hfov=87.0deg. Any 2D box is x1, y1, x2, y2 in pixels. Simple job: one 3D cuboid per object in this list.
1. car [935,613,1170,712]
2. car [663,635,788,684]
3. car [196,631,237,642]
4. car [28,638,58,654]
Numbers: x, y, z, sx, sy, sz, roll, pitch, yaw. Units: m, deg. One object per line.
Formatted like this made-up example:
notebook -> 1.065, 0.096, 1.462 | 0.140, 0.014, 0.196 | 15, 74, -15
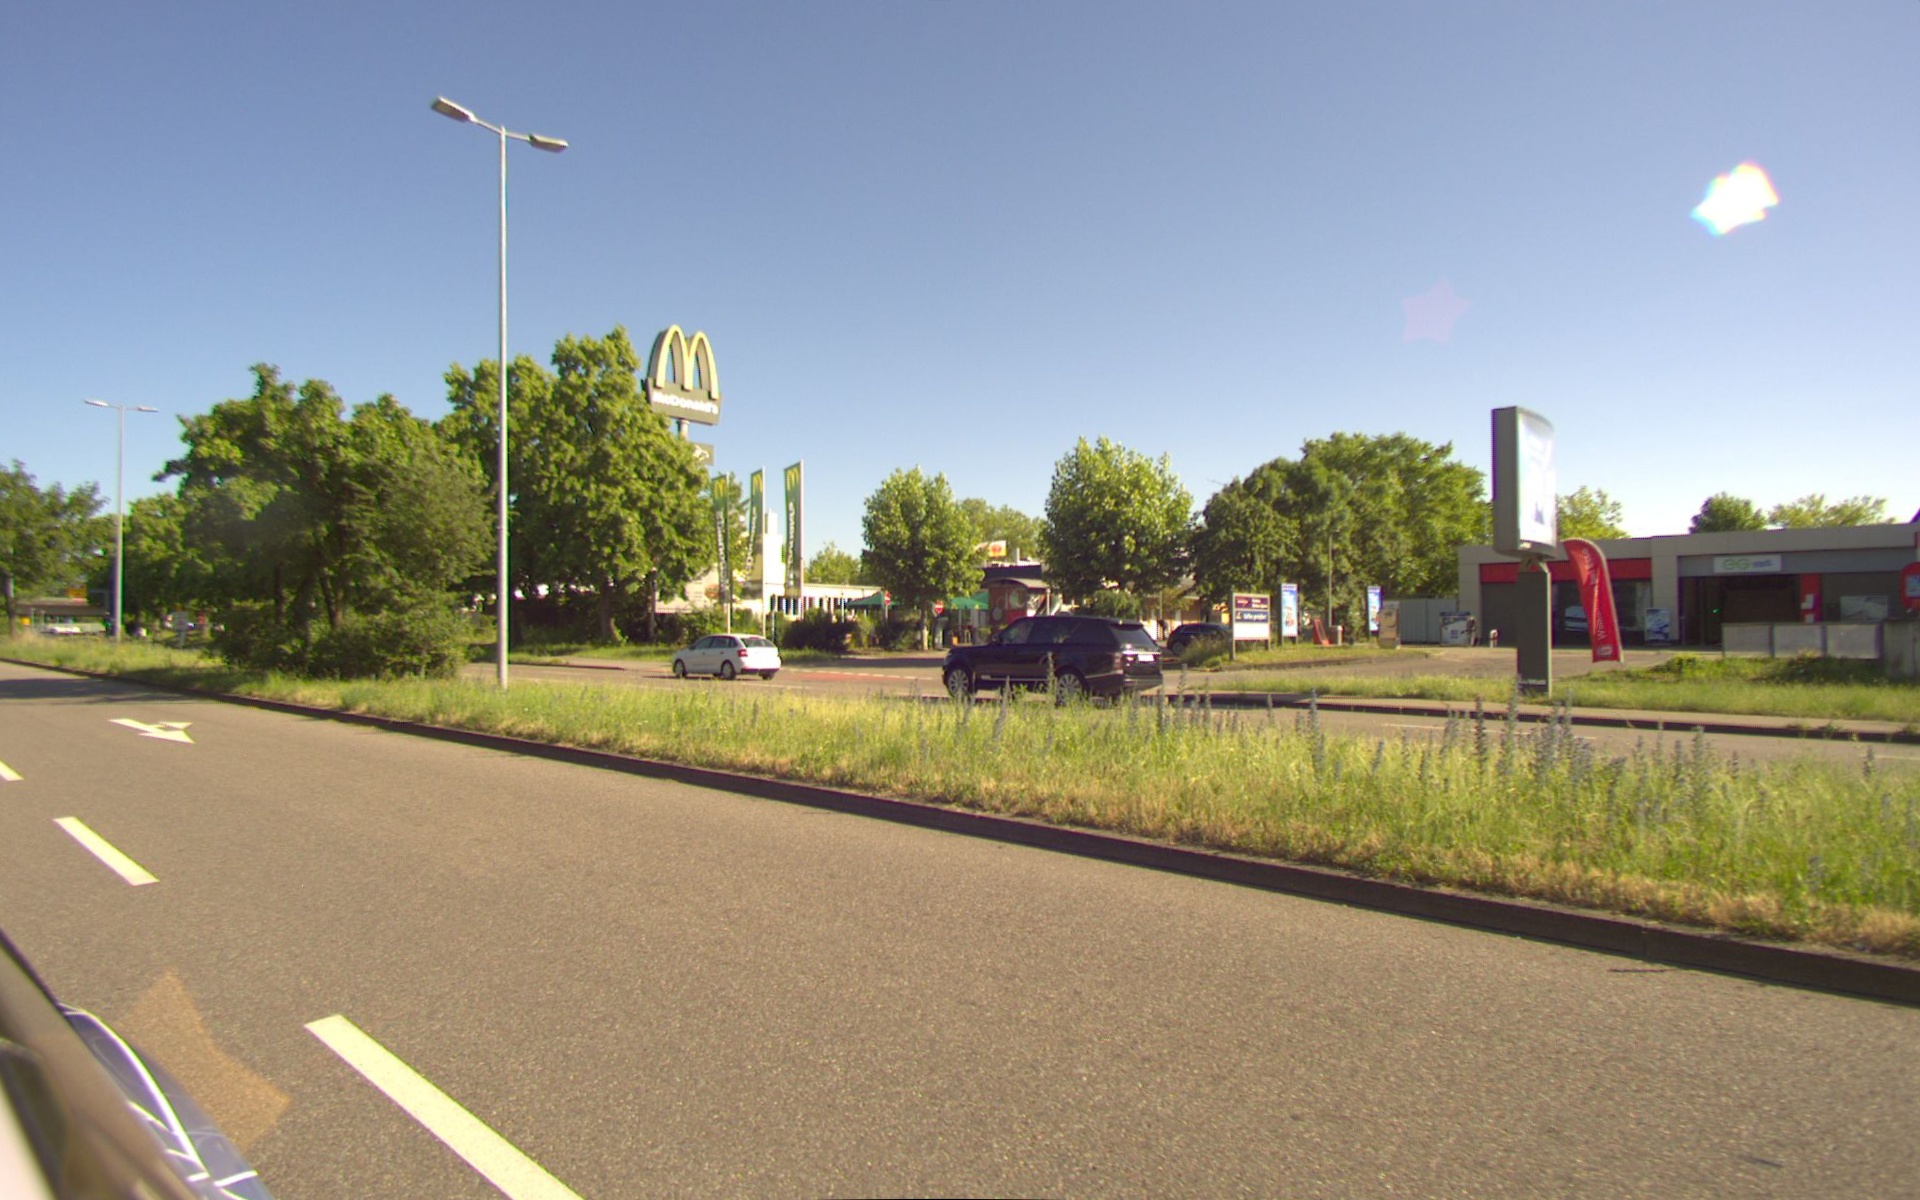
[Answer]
car -> 1.794, 1.253, 20.728 | 4.669, 1.816, 1.721 | -2, -5, 42
car -> -7.495, 1.880, 32.201 | 4.207, 1.467, 1.721 | -2, -4, 41
car -> -100.884, 4.955, 137.352 | 1.944, 1.399, 4.079 | -2, -3, 38
car -> -95.432, 4.791, 105.321 | 4.527, 1.532, 1.737 | -3, -5, 42
